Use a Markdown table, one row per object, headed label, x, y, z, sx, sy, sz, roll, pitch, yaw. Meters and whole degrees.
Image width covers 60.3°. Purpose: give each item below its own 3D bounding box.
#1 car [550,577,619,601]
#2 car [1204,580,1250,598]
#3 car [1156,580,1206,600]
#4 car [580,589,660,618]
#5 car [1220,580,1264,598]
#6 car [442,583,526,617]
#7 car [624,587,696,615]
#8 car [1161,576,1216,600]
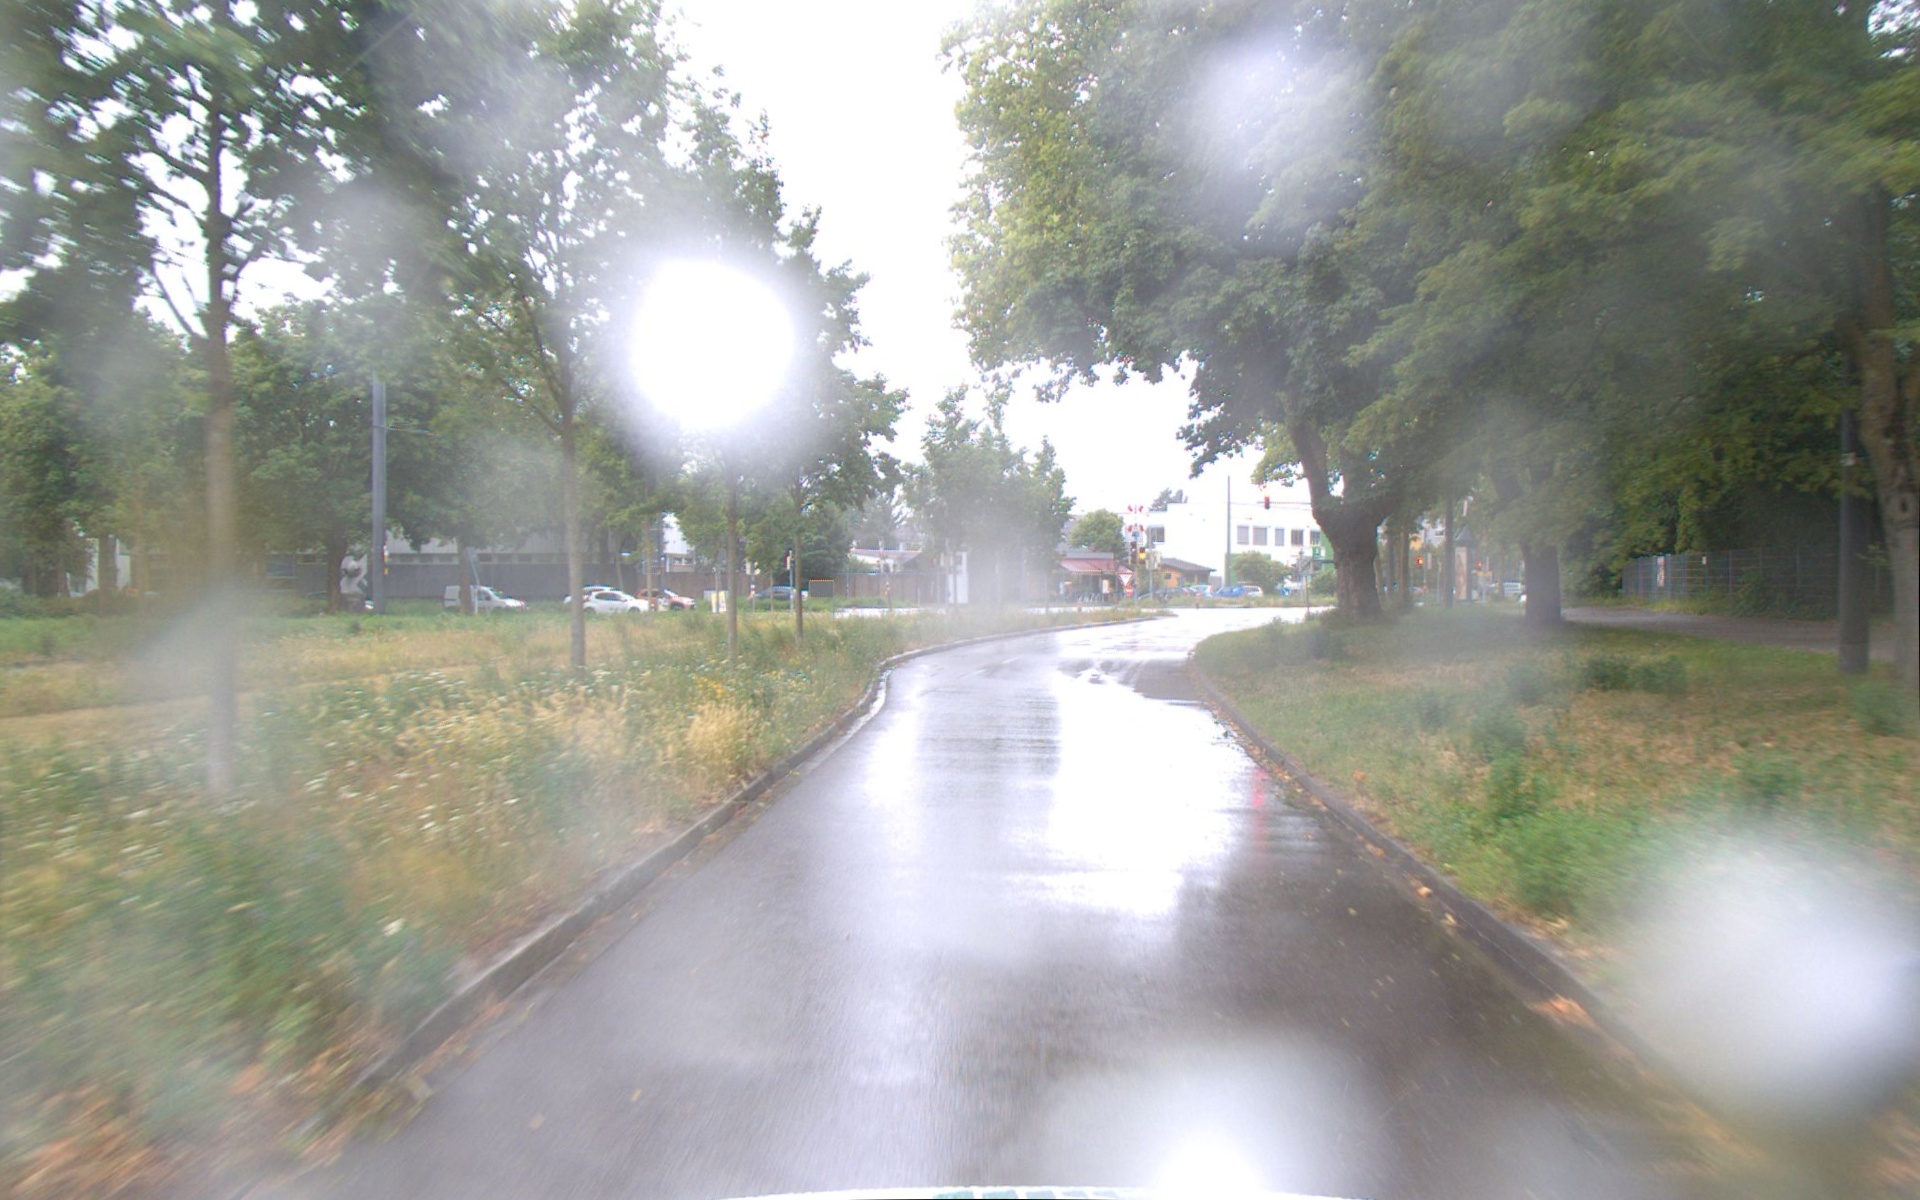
| label | x | y | z | sx | sy | sz | roll | pitch | yaw |
| --- | --- | --- | --- | --- | --- | --- | --- | --- | --- |
| car | -23.553 | -0.722 | 103.855 | 3.904 | 1.445 | 1.539 | -1 | 1 | 2 |
| car | 22.295 | -0.893 | 138.110 | 3.670 | 1.467 | 1.764 | -1 | 0 | 11 |
| car | 17.482 | -0.792 | 130.800 | 3.672 | 1.467 | 1.763 | -1 | 0 | 20 |
| car | -18.577 | 0.172 | 90.454 | 3.979 | 1.525 | 1.653 | -1 | 0 | 5 |
| car | 24.047 | -0.939 | 141.006 | 3.670 | 1.467 | 1.764 | -1 | 0 | 11 |
| car | -26.364 | 0.006 | 91.580 | 4.120 | 1.827 | 1.653 | 0 | 1 | 4 |
| car | -17.063 | 0.041 | 94.104 | 3.737 | 1.525 | 1.653 | -1 | 0 | 5 |
| car | 18.523 | -0.945 | 134.099 | 4.051 | 1.892 | 1.673 | -1 | 0 | 24 |
